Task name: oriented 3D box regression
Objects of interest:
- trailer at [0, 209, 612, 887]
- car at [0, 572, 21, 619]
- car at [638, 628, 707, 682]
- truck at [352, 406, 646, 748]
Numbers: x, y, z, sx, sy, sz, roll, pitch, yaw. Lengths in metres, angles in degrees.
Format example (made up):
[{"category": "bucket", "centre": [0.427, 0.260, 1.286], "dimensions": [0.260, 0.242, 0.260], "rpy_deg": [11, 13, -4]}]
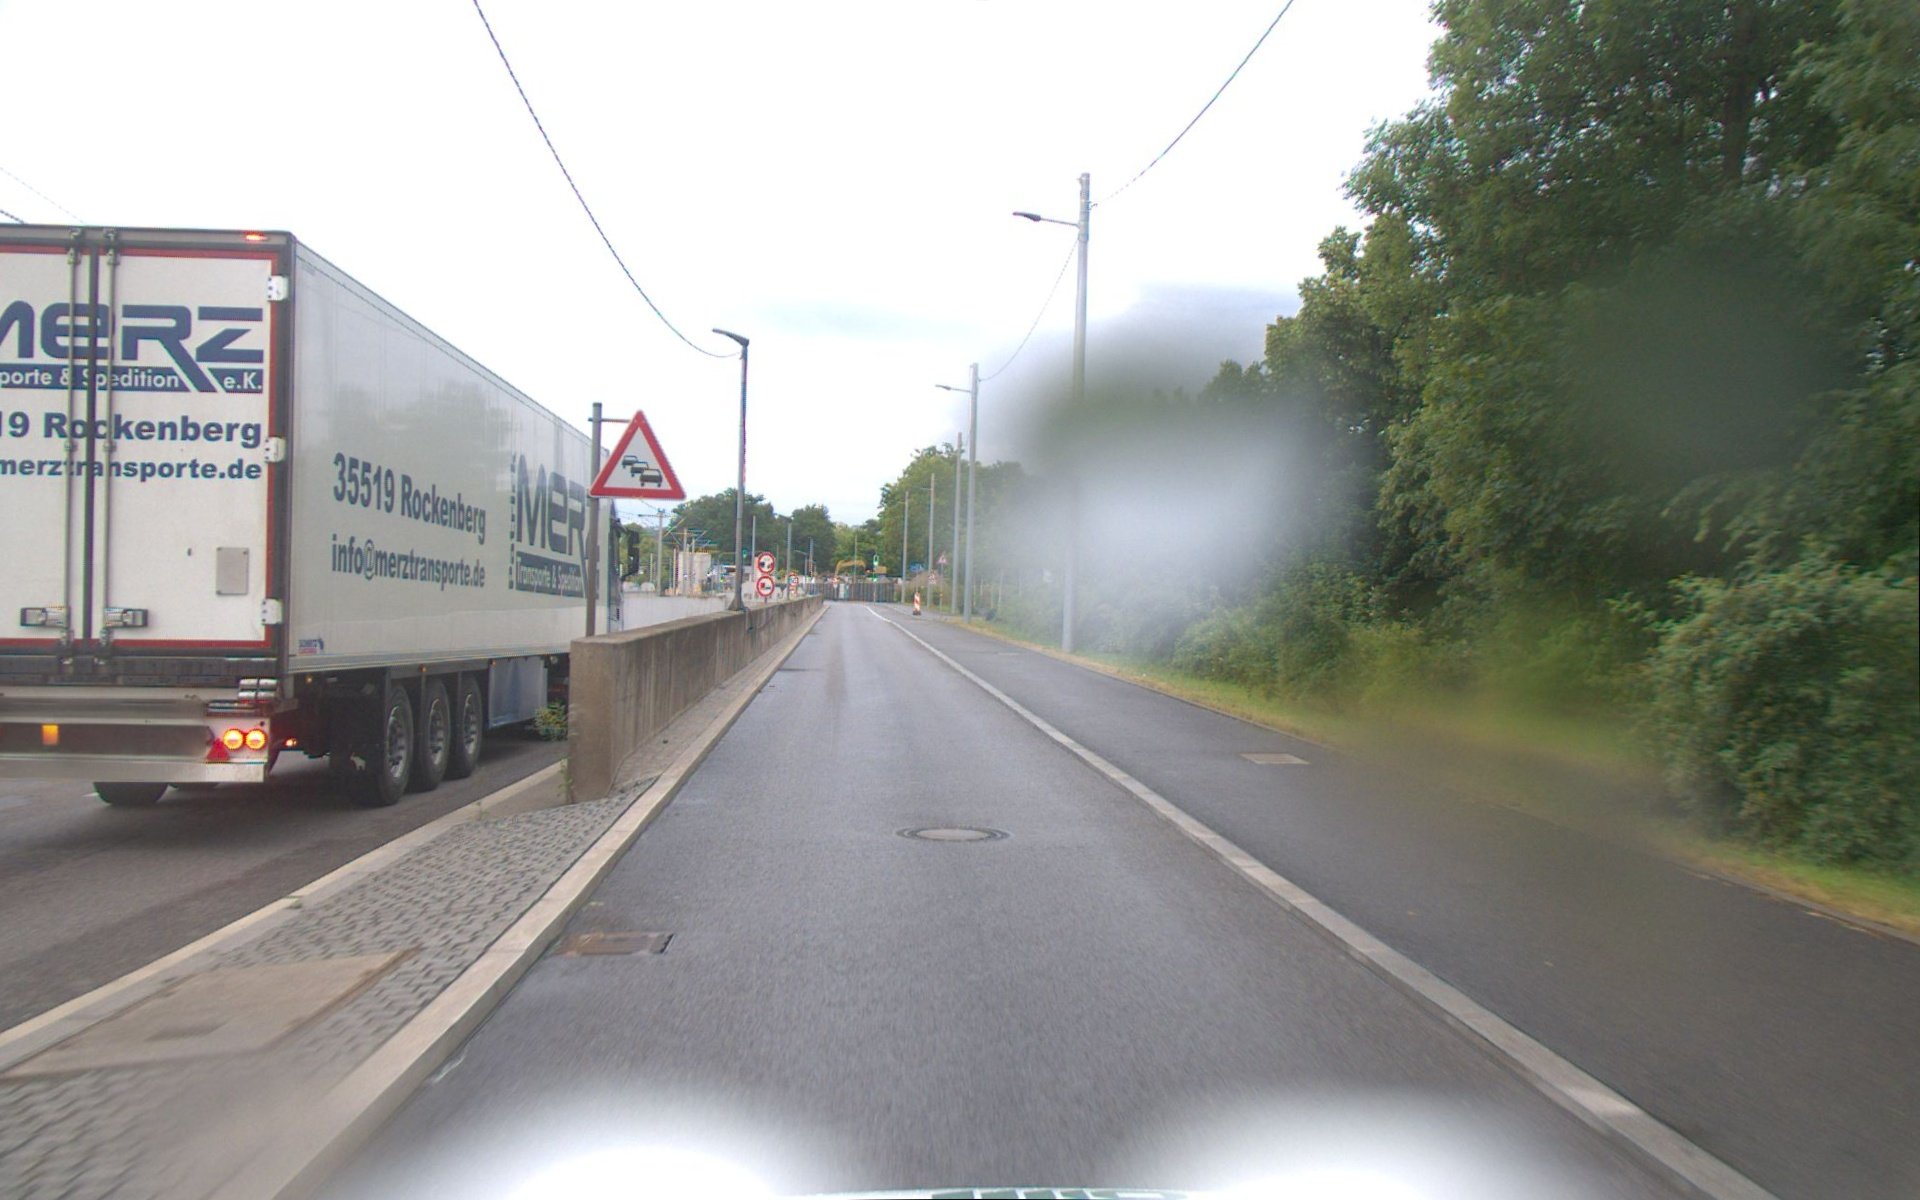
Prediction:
[{"category": "trailer", "centre": [-6.065, -0.395, 17.165], "dimensions": [2.707, 4.327, 13.176], "rpy_deg": [0, 1, -3]}, {"category": "car", "centre": [-27.904, -0.148, 46.624], "dimensions": [1.354, 1.322, 2.799], "rpy_deg": [2, 0, -3]}, {"category": "car", "centre": [-9.146, 1.738, 52.856], "dimensions": [1.774, 1.448, 3.998], "rpy_deg": [1, 2, -4]}, {"category": "truck", "centre": [-6.378, -0.322, 23.902], "dimensions": [2.701, 4.278, 6.304], "rpy_deg": [0, 0, -2]}]
